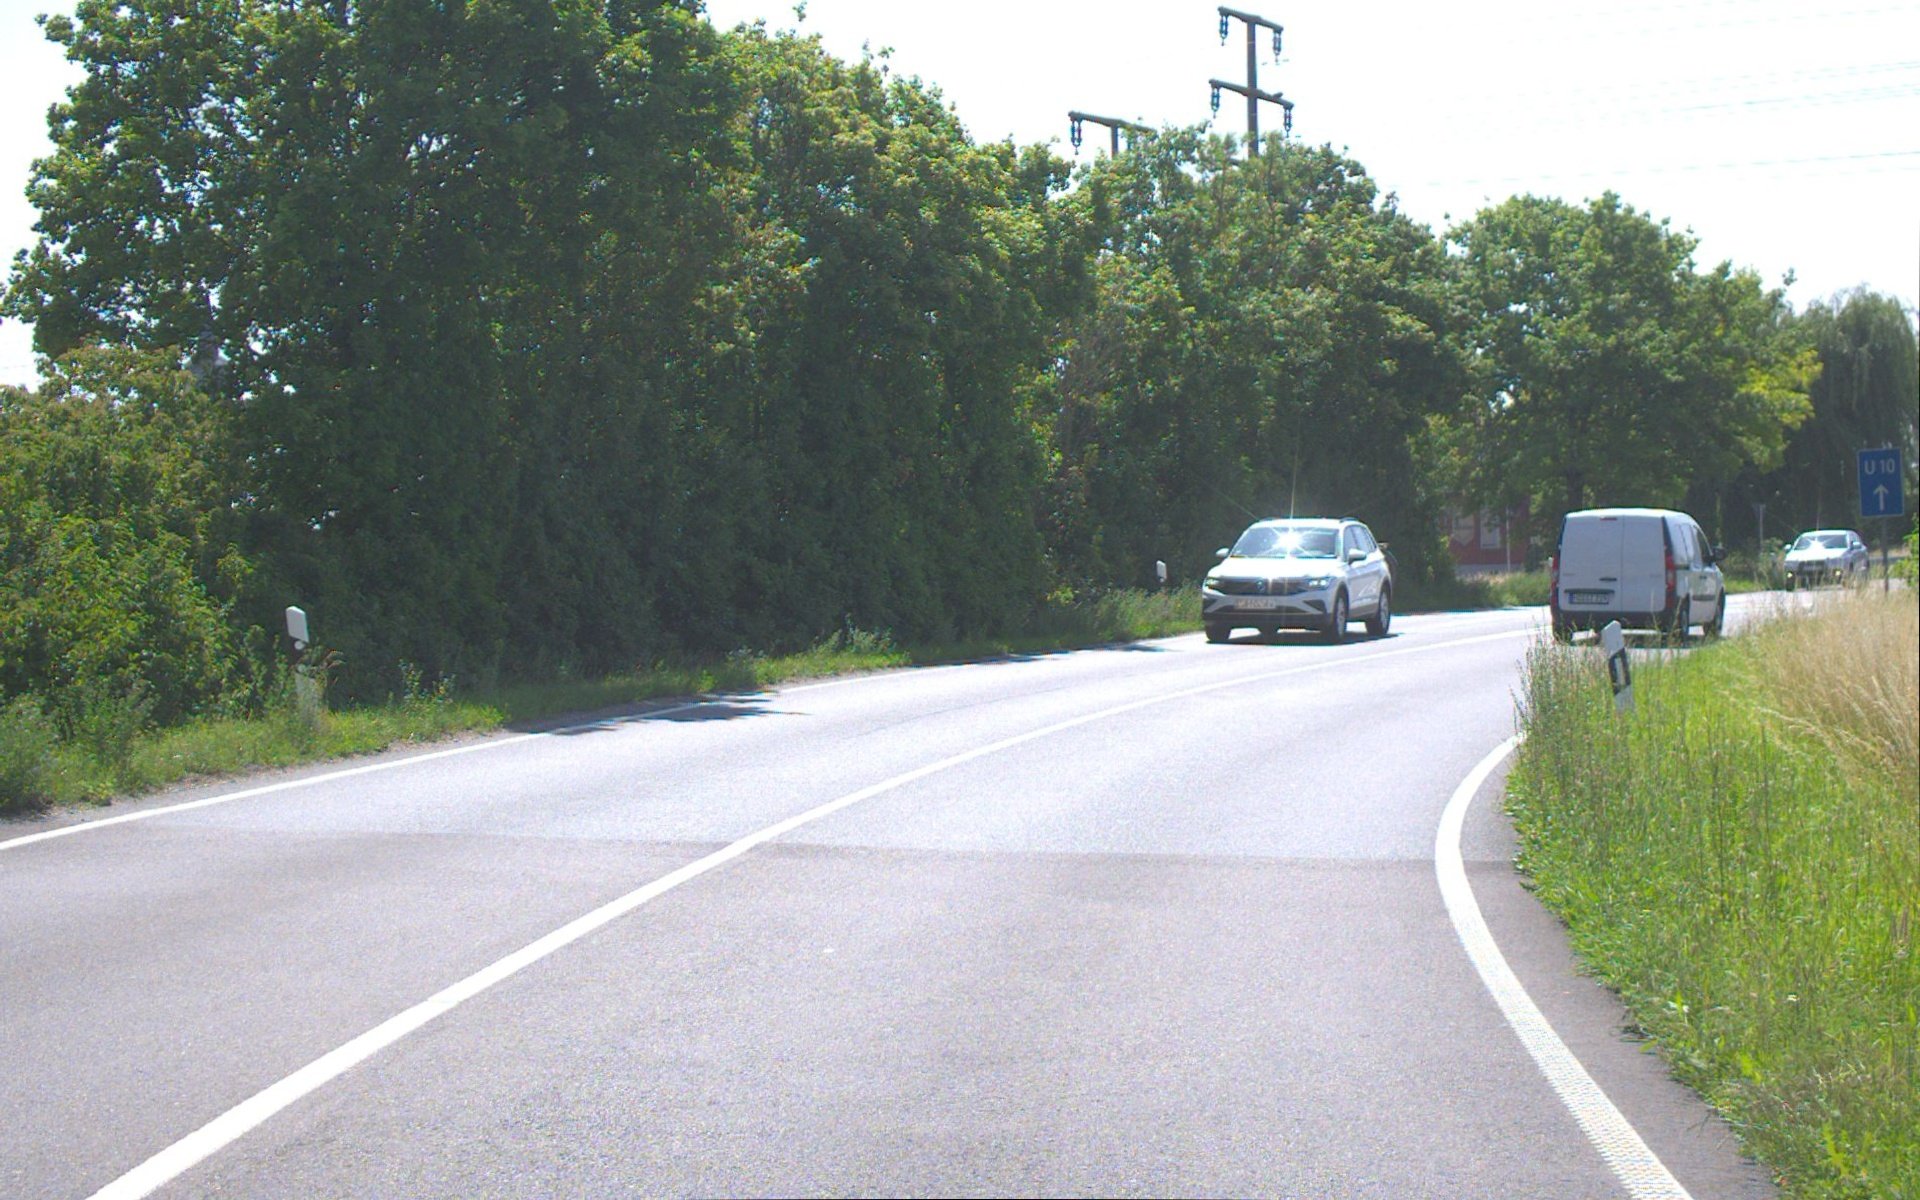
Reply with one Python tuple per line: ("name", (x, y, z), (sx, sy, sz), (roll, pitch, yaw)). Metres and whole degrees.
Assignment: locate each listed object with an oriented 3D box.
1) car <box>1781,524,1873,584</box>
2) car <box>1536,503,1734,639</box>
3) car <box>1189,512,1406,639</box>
("car", (23.572, -1.271, 93.401), (1.743, 1.584, 3.995), (1, 1, 24))
("car", (9.176, -0.393, 46.504), (1.906, 1.726, 3.818), (-1, 0, 22))
("car", (4.659, -0.365, 46.839), (1.857, 1.596, 4.773), (1, 1, 19))
